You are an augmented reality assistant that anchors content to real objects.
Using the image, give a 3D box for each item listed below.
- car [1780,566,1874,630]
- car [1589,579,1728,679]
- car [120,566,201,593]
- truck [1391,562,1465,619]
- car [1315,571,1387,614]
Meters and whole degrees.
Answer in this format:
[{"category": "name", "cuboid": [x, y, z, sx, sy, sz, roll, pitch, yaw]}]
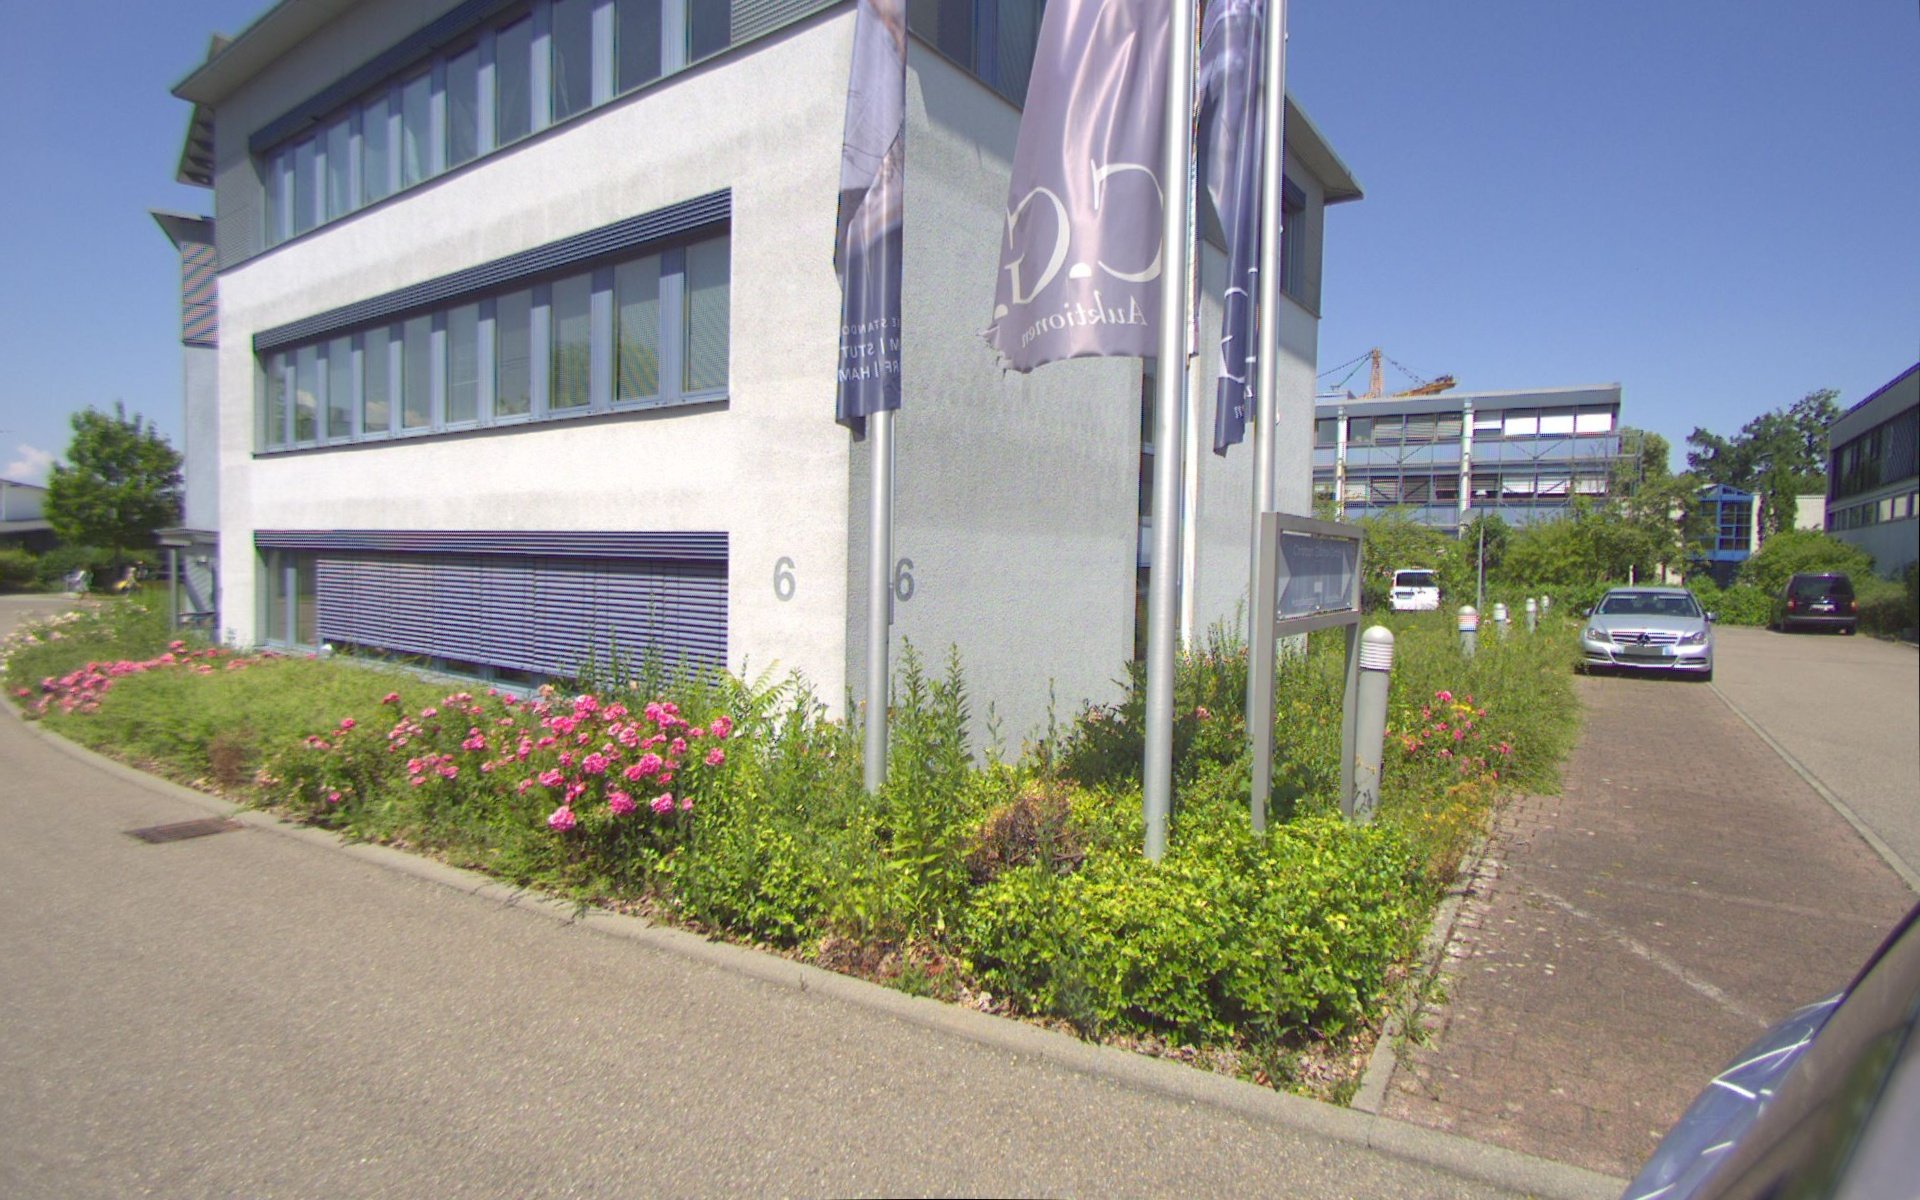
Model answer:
[{"category": "car", "cuboid": [26.761, -0.125, 31.354, 1.777, 1.826, 3.951, 1, 2, 35]}, {"category": "car", "cuboid": [11.670, 0.386, 16.865, 1.703, 1.408, 3.761, 2, 3, 36]}, {"category": "car", "cuboid": [-43.974, -1.147, 55.719, 3.152, 1.460, 1.591, 0, 1, -3]}, {"category": "truck", "cuboid": [17.025, -0.382, 36.697, 1.985, 1.917, 3.955, 1, 2, 32]}, {"category": "car", "cuboid": [15.050, -0.331, 38.848, 1.776, 1.565, 3.953, 1, 2, 33]}]
